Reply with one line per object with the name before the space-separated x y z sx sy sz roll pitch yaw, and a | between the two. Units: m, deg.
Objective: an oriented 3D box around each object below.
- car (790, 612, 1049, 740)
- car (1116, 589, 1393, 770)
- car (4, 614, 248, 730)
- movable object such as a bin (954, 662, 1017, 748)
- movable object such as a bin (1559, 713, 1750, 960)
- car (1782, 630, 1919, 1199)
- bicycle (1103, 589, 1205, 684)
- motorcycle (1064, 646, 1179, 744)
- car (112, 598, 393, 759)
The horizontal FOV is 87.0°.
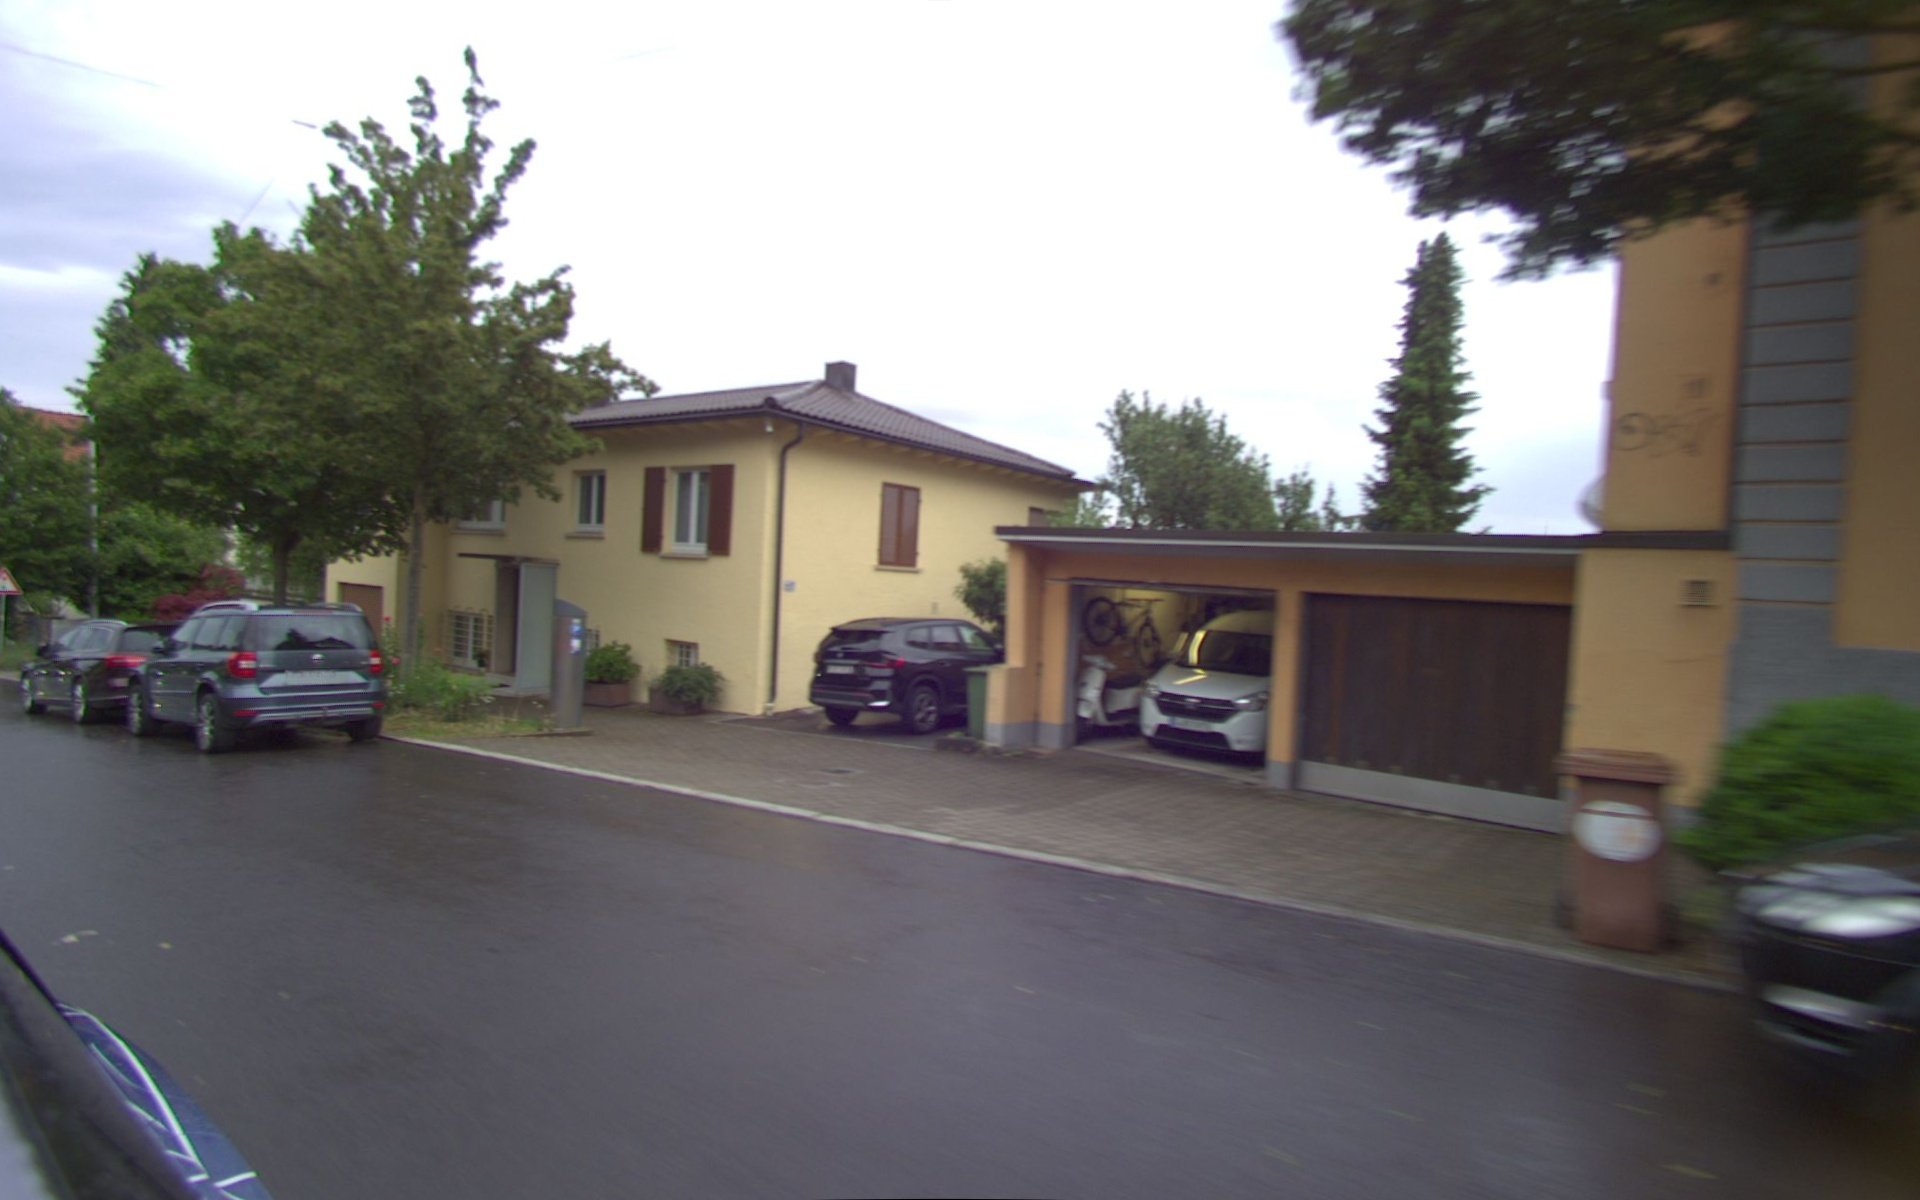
car | -0.489 1.036 15.600 1.861 1.658 4.014 0 0 38
car | 4.068 0.926 13.479 1.848 1.904 4.335 5 2 40
car | -12.849 1.008 15.504 4.595 1.547 1.752 -1 -2 36
movable object such as a bin | 0.330 1.345 13.129 0.585 1.031 0.581 -1 0 35
movable object such as a bin | 3.334 1.084 4.911 0.706 1.019 0.677 -1 -5 33
car | 4.471 0.814 2.014 4.342 1.447 1.751 -1 -2 38
bicycle | 2.826 0.545 14.608 0.626 0.944 1.743 -1 -17 39
motorcycle | 2.181 1.225 13.512 0.577 1.176 1.881 3 0 40
car | -8.797 0.840 12.469 4.104 1.647 1.751 -1 0 39
